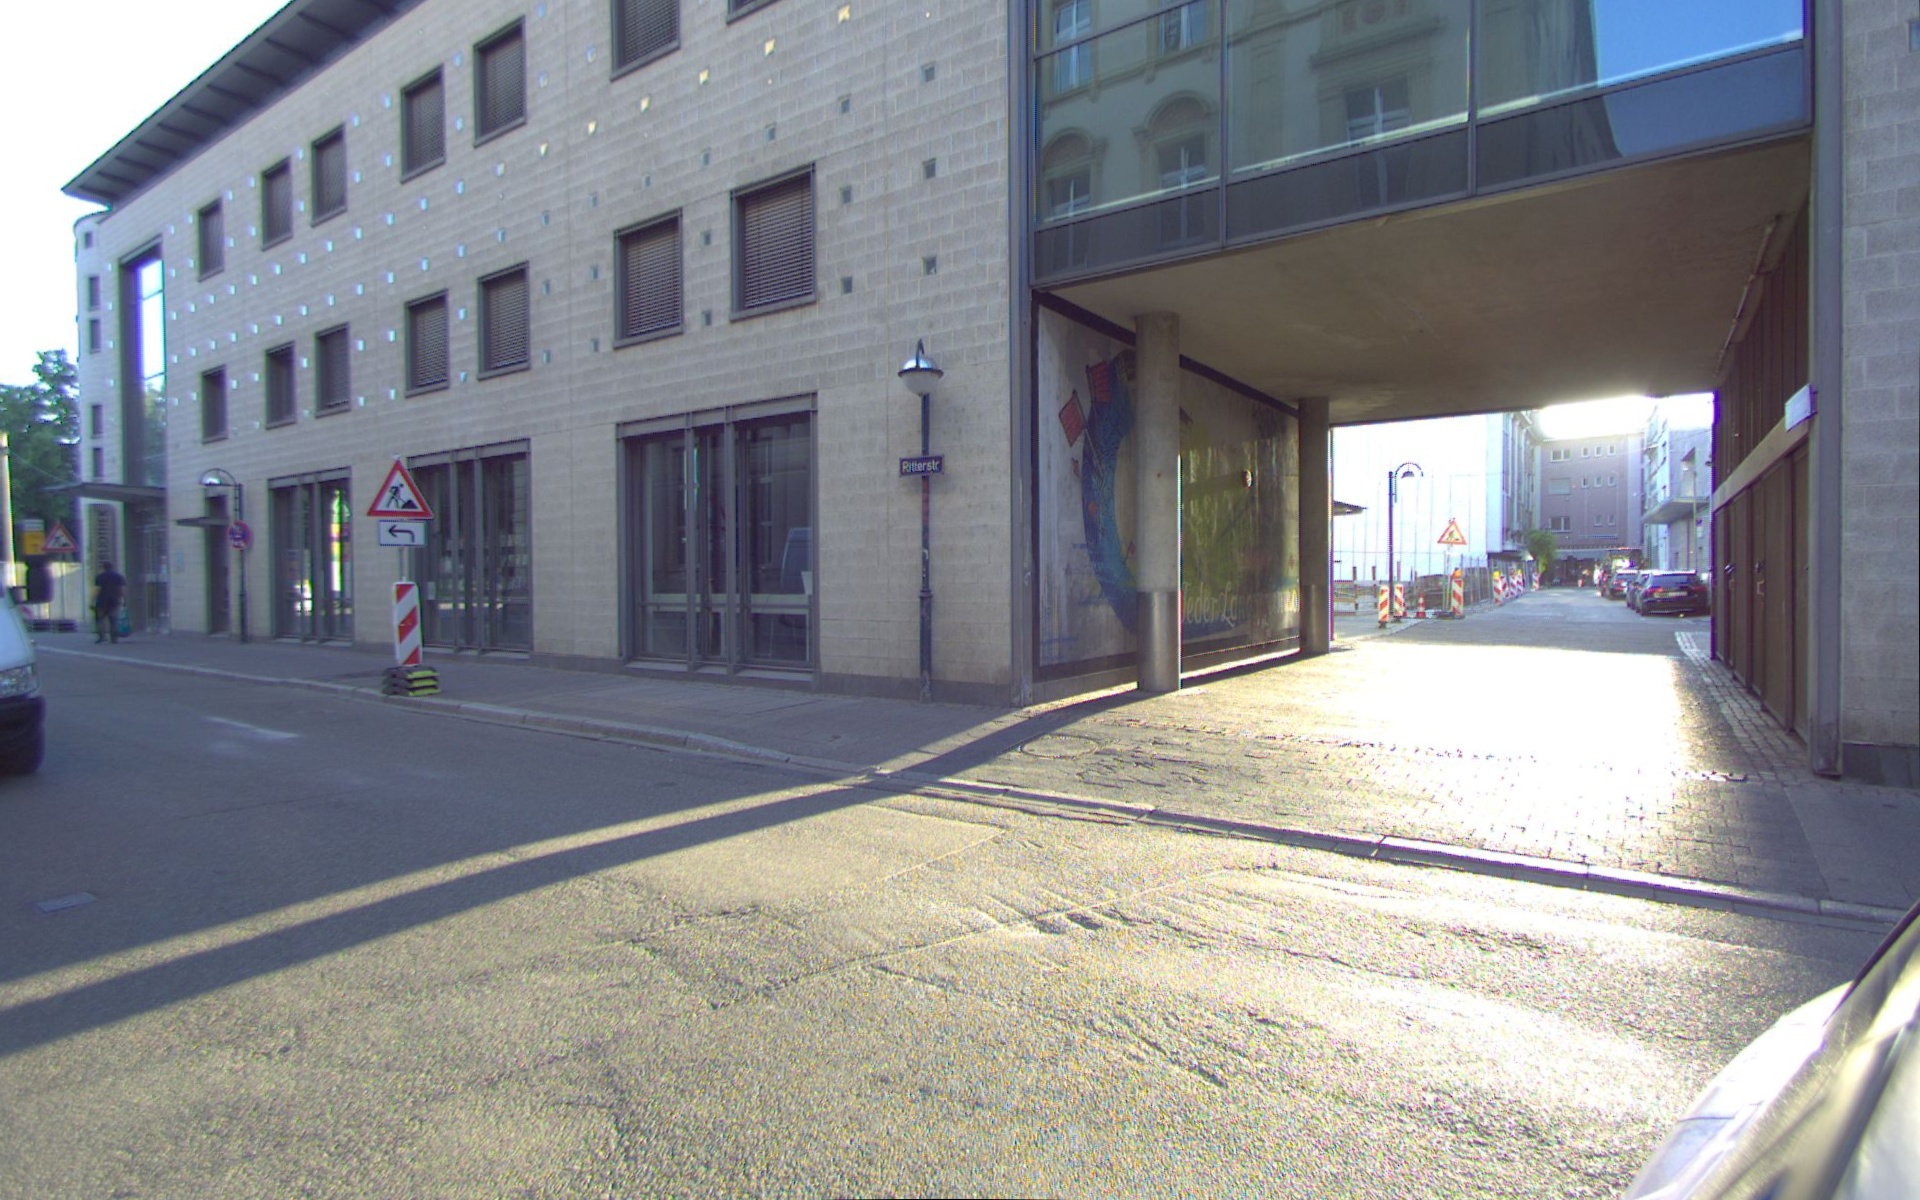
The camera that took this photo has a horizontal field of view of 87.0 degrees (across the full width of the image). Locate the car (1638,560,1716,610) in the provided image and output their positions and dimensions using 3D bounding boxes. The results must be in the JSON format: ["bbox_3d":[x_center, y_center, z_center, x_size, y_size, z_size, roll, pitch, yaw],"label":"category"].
[{"bbox_3d":[23.130,-0.487,32.764,1.587,1.512,3.412,0,1,27],"label":"car"}]

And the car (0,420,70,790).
[{"bbox_3d":[-9.573,0.019,8.272,6.428,2.543,1.978,1,3,35],"label":"car"}]

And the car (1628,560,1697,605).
[{"bbox_3d":[24.998,-0.638,36.107,1.587,1.512,3.412,0,1,27],"label":"car"}]

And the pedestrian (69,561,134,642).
[{"bbox_3d":[-18.971,0.019,22.364,0.863,1.723,0.914,0,1,36],"label":"pedestrian"}]

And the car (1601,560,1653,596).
[{"bbox_3d":[29.530,-0.979,44.889,1.587,1.512,3.412,0,1,27],"label":"car"}]

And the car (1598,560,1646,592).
[{"bbox_3d":[32.045,-1.166,49.023,1.587,1.512,3.412,0,1,27],"label":"car"}]
